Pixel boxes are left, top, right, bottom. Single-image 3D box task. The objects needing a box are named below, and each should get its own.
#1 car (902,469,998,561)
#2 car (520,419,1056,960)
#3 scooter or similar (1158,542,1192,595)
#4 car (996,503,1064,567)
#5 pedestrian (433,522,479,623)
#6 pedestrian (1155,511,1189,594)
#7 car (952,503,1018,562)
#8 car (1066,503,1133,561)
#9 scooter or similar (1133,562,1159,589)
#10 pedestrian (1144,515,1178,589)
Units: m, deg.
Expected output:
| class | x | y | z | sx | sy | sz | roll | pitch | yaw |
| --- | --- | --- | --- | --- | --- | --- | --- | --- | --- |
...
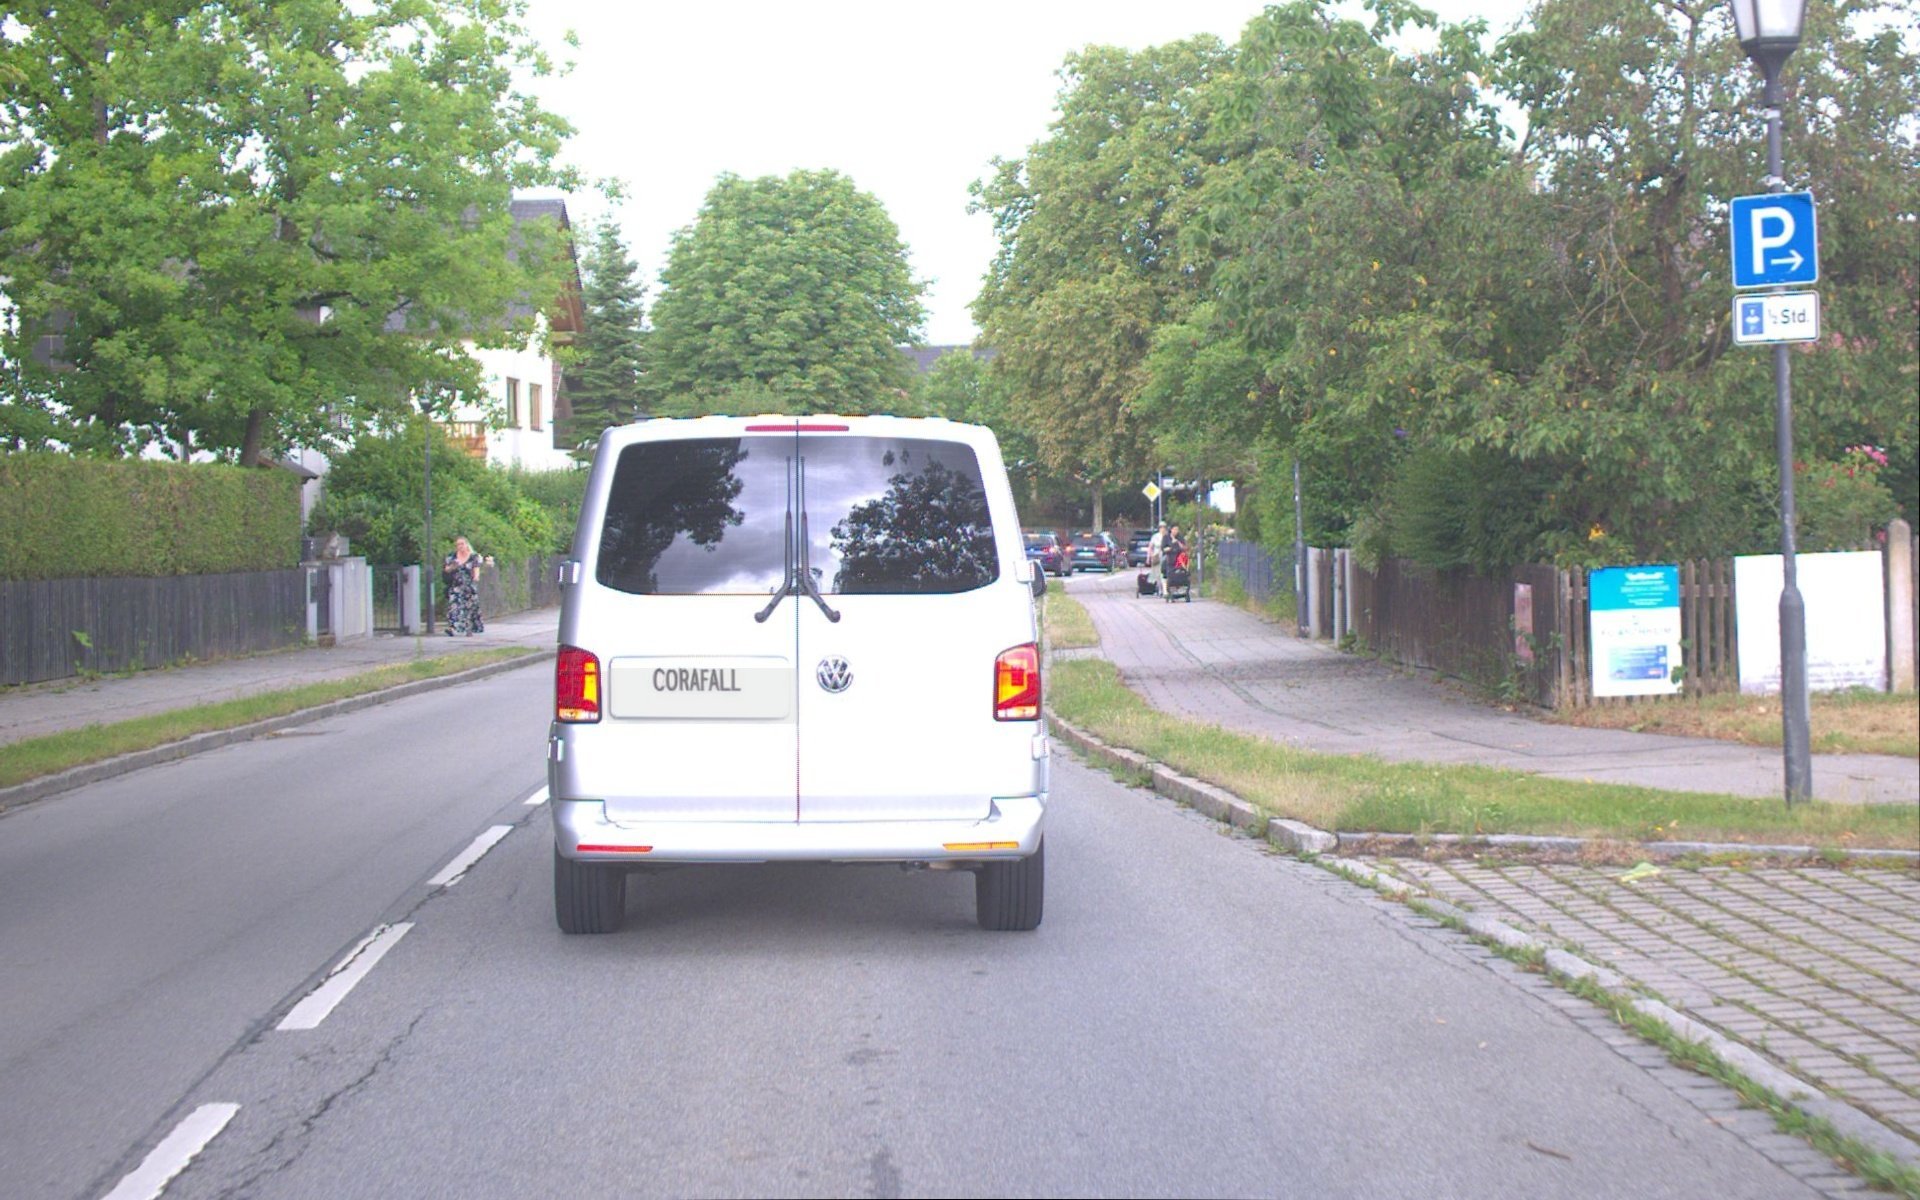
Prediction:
| class | x | y | z | sx | sy | sz | roll | pitch | yaw |
| --- | --- | --- | --- | --- | --- | --- | --- | --- | --- |
| car | -0.208 | -1.910 | 77.667 | 1.993 | 2.007 | 4.000 | 1 | 1 | 2 |
| car | -0.586 | 0.280 | 14.110 | 1.888 | 1.905 | 4.000 | 0 | 1 | 1 |
| scooter or similar | 4.010 | -0.584 | 64.034 | 0.551 | 0.968 | 0.620 | 1 | 1 | -3 |
| car | 2.305 | -2.146 | 112.494 | 1.994 | 2.007 | 4.000 | -1 | 1 | 4 |
| pedestrian | -7.762 | -0.427 | 52.956 | 0.622 | 1.544 | 0.522 | 1 | 1 | -3 |
| pedestrian | 3.985 | -0.890 | 64.762 | 0.551 | 1.544 | 0.612 | 1 | 1 | -3 |
| car | 0.922 | -2.431 | 123.103 | 1.994 | 2.007 | 3.999 | -1 | 1 | 5 |
| car | 5.057 | -2.449 | 123.883 | 1.994 | 2.007 | 3.999 | -1 | 1 | 8 |
| scooter or similar | 3.899 | -0.510 | 72.098 | 0.474 | 0.543 | 0.459 | 1 | 1 | -3 |
| pedestrian | 4.167 | -1.004 | 71.417 | 0.622 | 1.518 | 0.579 | 1 | 1 | -3 |
